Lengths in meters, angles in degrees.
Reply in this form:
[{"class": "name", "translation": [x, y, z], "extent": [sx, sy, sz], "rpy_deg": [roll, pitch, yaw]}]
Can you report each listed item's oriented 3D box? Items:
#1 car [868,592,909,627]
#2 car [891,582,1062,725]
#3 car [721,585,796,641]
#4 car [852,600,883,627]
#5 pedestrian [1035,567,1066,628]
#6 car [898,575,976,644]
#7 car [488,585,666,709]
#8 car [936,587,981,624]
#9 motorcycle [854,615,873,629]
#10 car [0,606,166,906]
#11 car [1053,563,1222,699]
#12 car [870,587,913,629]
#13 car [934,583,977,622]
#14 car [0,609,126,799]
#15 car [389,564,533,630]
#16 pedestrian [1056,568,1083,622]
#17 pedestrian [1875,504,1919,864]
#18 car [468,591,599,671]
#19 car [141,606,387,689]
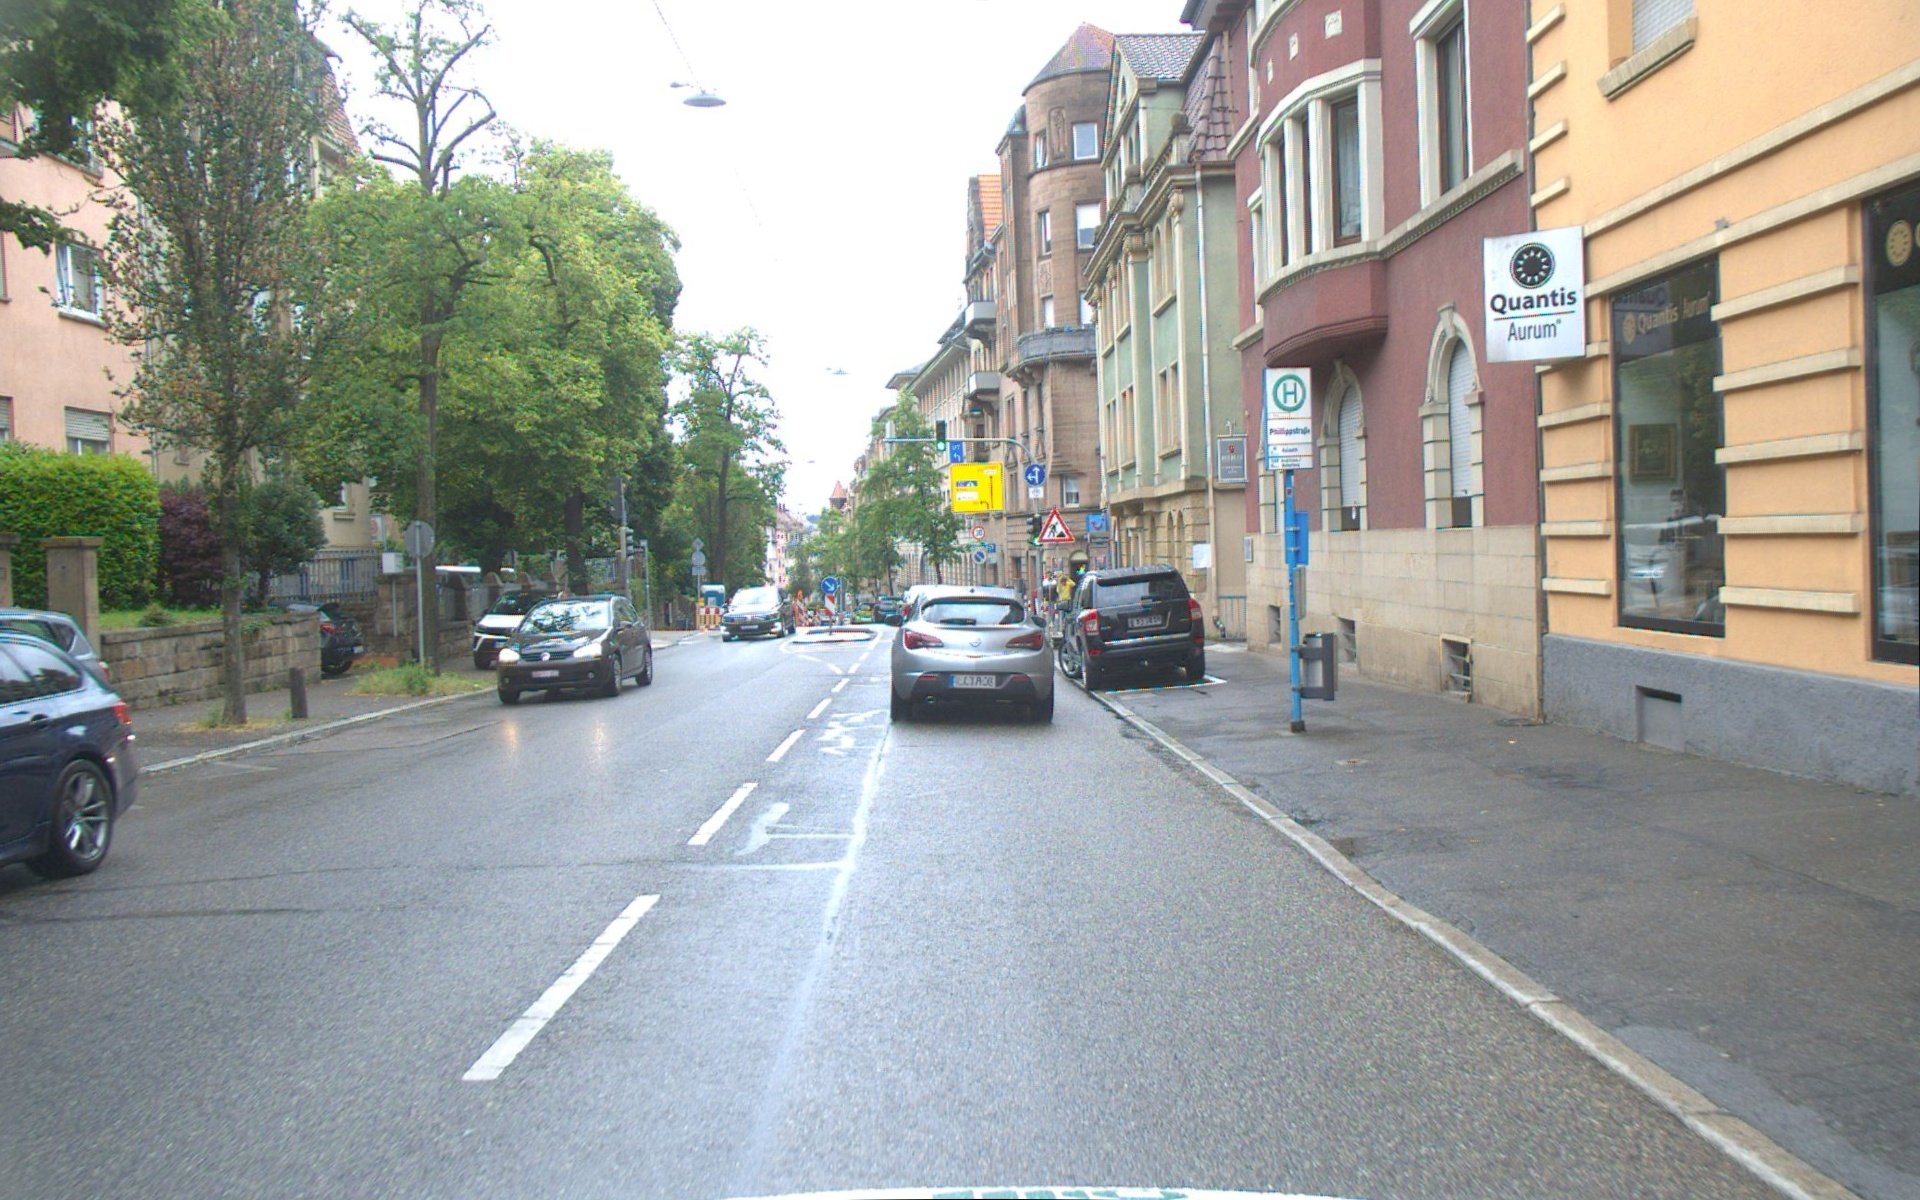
[{"class": "car", "translation": [-3.643, 0.498, 83.704], "extent": [1.626, 1.569, 3.659], "rpy_deg": [-4, -1, -8]}, {"class": "car", "translation": [0.185, 0.578, 19.328], "extent": [1.774, 1.475, 3.869], "rpy_deg": [-1, -1, 0]}, {"class": "car", "translation": [-5.864, 0.353, 48.532], "extent": [1.779, 1.544, 4.546], "rpy_deg": [-1, 0, -2]}, {"class": "car", "translation": [-5.844, 0.862, 104.422], "extent": [1.626, 1.569, 3.659], "rpy_deg": [-4, -1, -8]}, {"class": "pedestrian", "translation": [2.790, -0.075, 51.137], "extent": [0.703, 1.805, 0.666], "rpy_deg": [-4, 1, 17]}, {"class": "car", "translation": [-0.532, 0.238, 39.341], "extent": [1.736, 1.531, 3.868], "rpy_deg": [-1, -1, 0]}, {"class": "car", "translation": [-5.805, 0.645, 25.642], "extent": [1.736, 1.543, 4.590], "rpy_deg": [-3, 2, -2]}, {"class": "car", "translation": [-0.102, 0.280, 79.610], "extent": [1.626, 1.569, 3.659], "rpy_deg": [-4, -1, -8]}, {"class": "motorcycle", "translation": [-8.542, 1.973, 146.923], "extent": [0.643, 1.257, 1.977], "rpy_deg": [-2, -2, 32]}, {"class": "car", "translation": [-5.877, 0.904, 8.076], "extent": [1.736, 1.493, 4.747], "rpy_deg": [-3, 2, -2]}, {"class": "car", "translation": [2.497, 0.438, 24.435], "extent": [1.839, 1.658, 4.697], "rpy_deg": [-5, -1, 0]}, {"class": "car", "translation": [-2.803, 0.337, 68.358], "extent": [1.623, 1.569, 3.664], "rpy_deg": [-4, -1, -2]}, {"class": "car", "translation": [-0.198, 0.115, 69.105], "extent": [1.736, 1.531, 3.868], "rpy_deg": [-1, -1, 0]}, {"class": "car", "translation": [-8.869, 0.872, 13.746], "extent": [1.706, 1.586, 4.301], "rpy_deg": [0, -1, 0]}, {"class": "car", "translation": [-18.291, -0.128, 60.667], "extent": [4.564, 2.083, 2.027], "rpy_deg": [4, 2, 14]}, {"class": "pedestrian", "translation": [3.362, -0.149, 50.815], "extent": [0.584, 1.612, 0.666], "rpy_deg": [-4, 1, 18]}, {"class": "pedestrian", "translation": [4.715, 0.359, 7.392], "extent": [0.755, 1.617, 0.708], "rpy_deg": [-2, -1, -20]}, {"class": "car", "translation": [-9.021, 0.647, 35.340], "extent": [1.706, 1.586, 4.301], "rpy_deg": [0, -1, 0]}, {"class": "car", "translation": [-13.363, 0.896, 31.939], "extent": [3.907, 1.349, 1.836], "rpy_deg": [-2, 1, -2]}]
